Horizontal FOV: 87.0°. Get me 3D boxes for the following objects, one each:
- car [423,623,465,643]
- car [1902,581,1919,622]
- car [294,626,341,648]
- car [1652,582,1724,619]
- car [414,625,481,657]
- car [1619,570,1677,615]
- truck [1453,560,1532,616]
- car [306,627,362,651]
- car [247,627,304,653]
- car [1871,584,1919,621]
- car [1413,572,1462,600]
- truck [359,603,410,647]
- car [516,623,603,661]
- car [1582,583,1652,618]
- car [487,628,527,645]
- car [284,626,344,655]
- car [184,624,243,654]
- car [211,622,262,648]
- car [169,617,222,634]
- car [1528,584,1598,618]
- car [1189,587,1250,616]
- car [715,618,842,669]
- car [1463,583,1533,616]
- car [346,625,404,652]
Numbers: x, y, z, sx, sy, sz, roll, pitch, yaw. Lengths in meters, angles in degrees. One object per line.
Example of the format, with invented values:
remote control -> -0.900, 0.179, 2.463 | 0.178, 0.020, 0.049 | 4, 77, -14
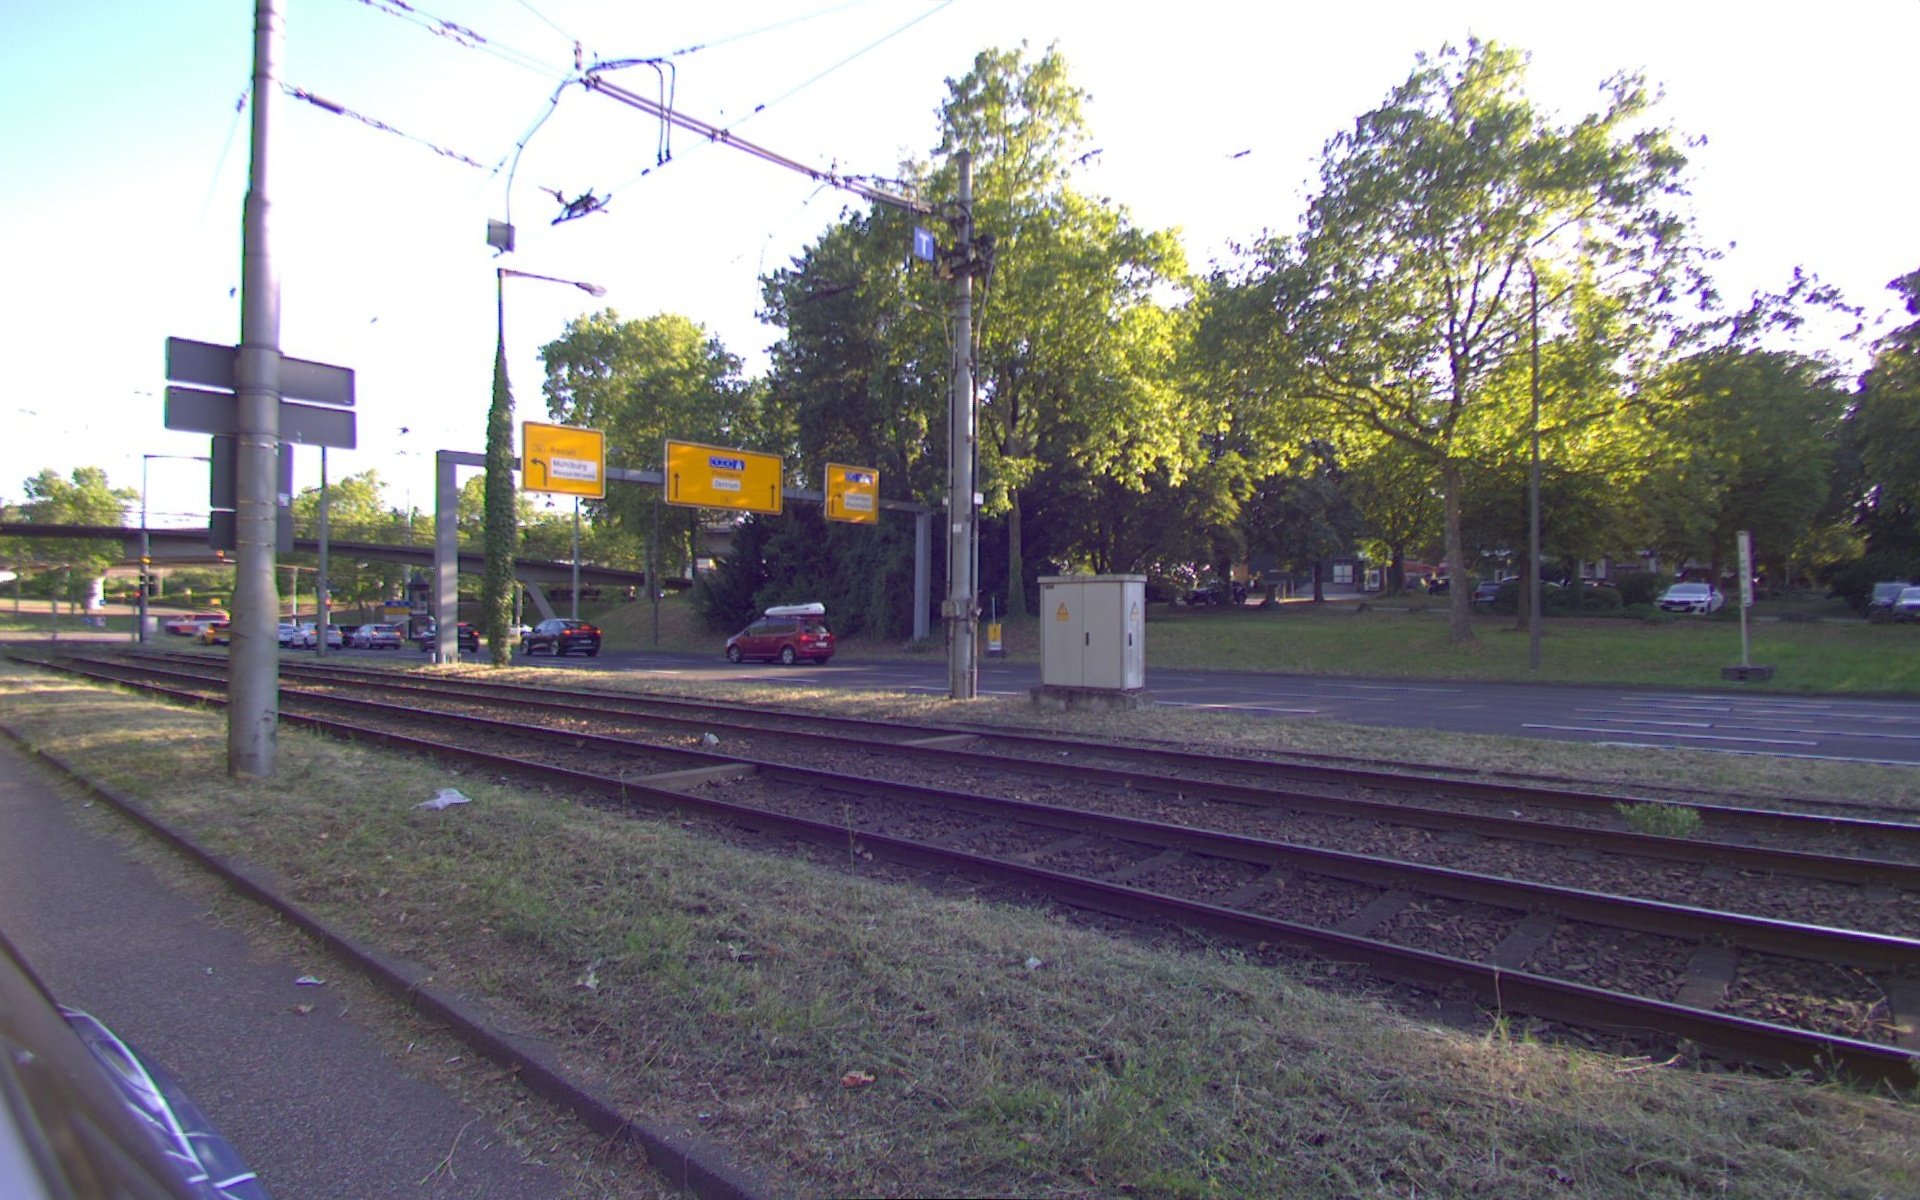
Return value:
car -> -52.373, 3.308, 102.673 | 3.748, 1.872, 1.682 | -1, 0, -30
car -> 37.589, 0.034, 38.893 | 1.942, 1.521, 4.039 | 0, 0, 44
car -> -44.262, 2.511, 69.680 | 1.891, 1.435, 4.229 | 0, -1, -44
car -> 31.571, 0.001, 43.845 | 1.942, 1.521, 4.039 | 0, 0, 44
car -> -26.169, 2.081, 51.661 | 3.971, 1.569, 1.733 | -2, -3, 42
car -> 36.896, -0.402, 54.239 | 2.161, 2.320, 4.348 | 0, 0, 40
truck -> 31.753, -0.690, 60.285 | 2.503, 3.191, 6.137 | 0, 0, 45
car -> -39.751, 2.454, 64.234 | 4.224, 1.435, 1.844 | -1, -1, 40
car -> -40.568, 2.354, 59.955 | 4.226, 1.435, 1.893 | -1, -1, 42
car -> 43.978, 0.092, 47.225 | 3.998, 1.628, 1.864 | -1, 0, -43
car -> 33.567, -0.995, 71.061 | 2.290, 1.864, 5.214 | -1, 1, 34
truck -> -40.292, 1.745, 70.774 | 2.248, 2.901, 6.895 | 0, -1, -37
car -> -17.362, 1.789, 43.792 | 4.332, 1.556, 1.713 | -1, -2, 41
car -> 30.044, 0.005, 46.220 | 1.942, 1.521, 4.039 | 0, 0, 44
car -> -47.278, 3.798, 105.696 | 3.747, 1.591, 1.683 | -1, 0, -26
car -> -35.731, 2.208, 55.962 | 3.997, 1.556, 1.744 | -1, -1, 40
car -> -40.794, 2.127, 55.261 | 3.997, 1.556, 1.744 | -1, -1, 40
car -> -45.827, 2.187, 64.050 | 4.228, 1.561, 1.892 | -1, -2, 44
car -> -73.174, 2.435, 96.906 | 3.810, 1.421, 1.817 | -1, 0, -30
car -> 28.435, 0.014, 47.658 | 1.942, 1.521, 4.039 | 0, 0, 44
car -> 15.405, 0.062, 59.959 | 1.791, 1.657, 3.942 | -1, -1, 44
car -> -6.300, 1.477, 34.945 | 4.301, 1.647, 1.821 | -1, -2, 35
car -> 26.179, -0.045, 49.186 | 1.942, 1.521, 4.039 | 0, 0, 44
car -> -34.952, 2.259, 60.419 | 3.998, 1.556, 1.789 | -1, -1, 41
